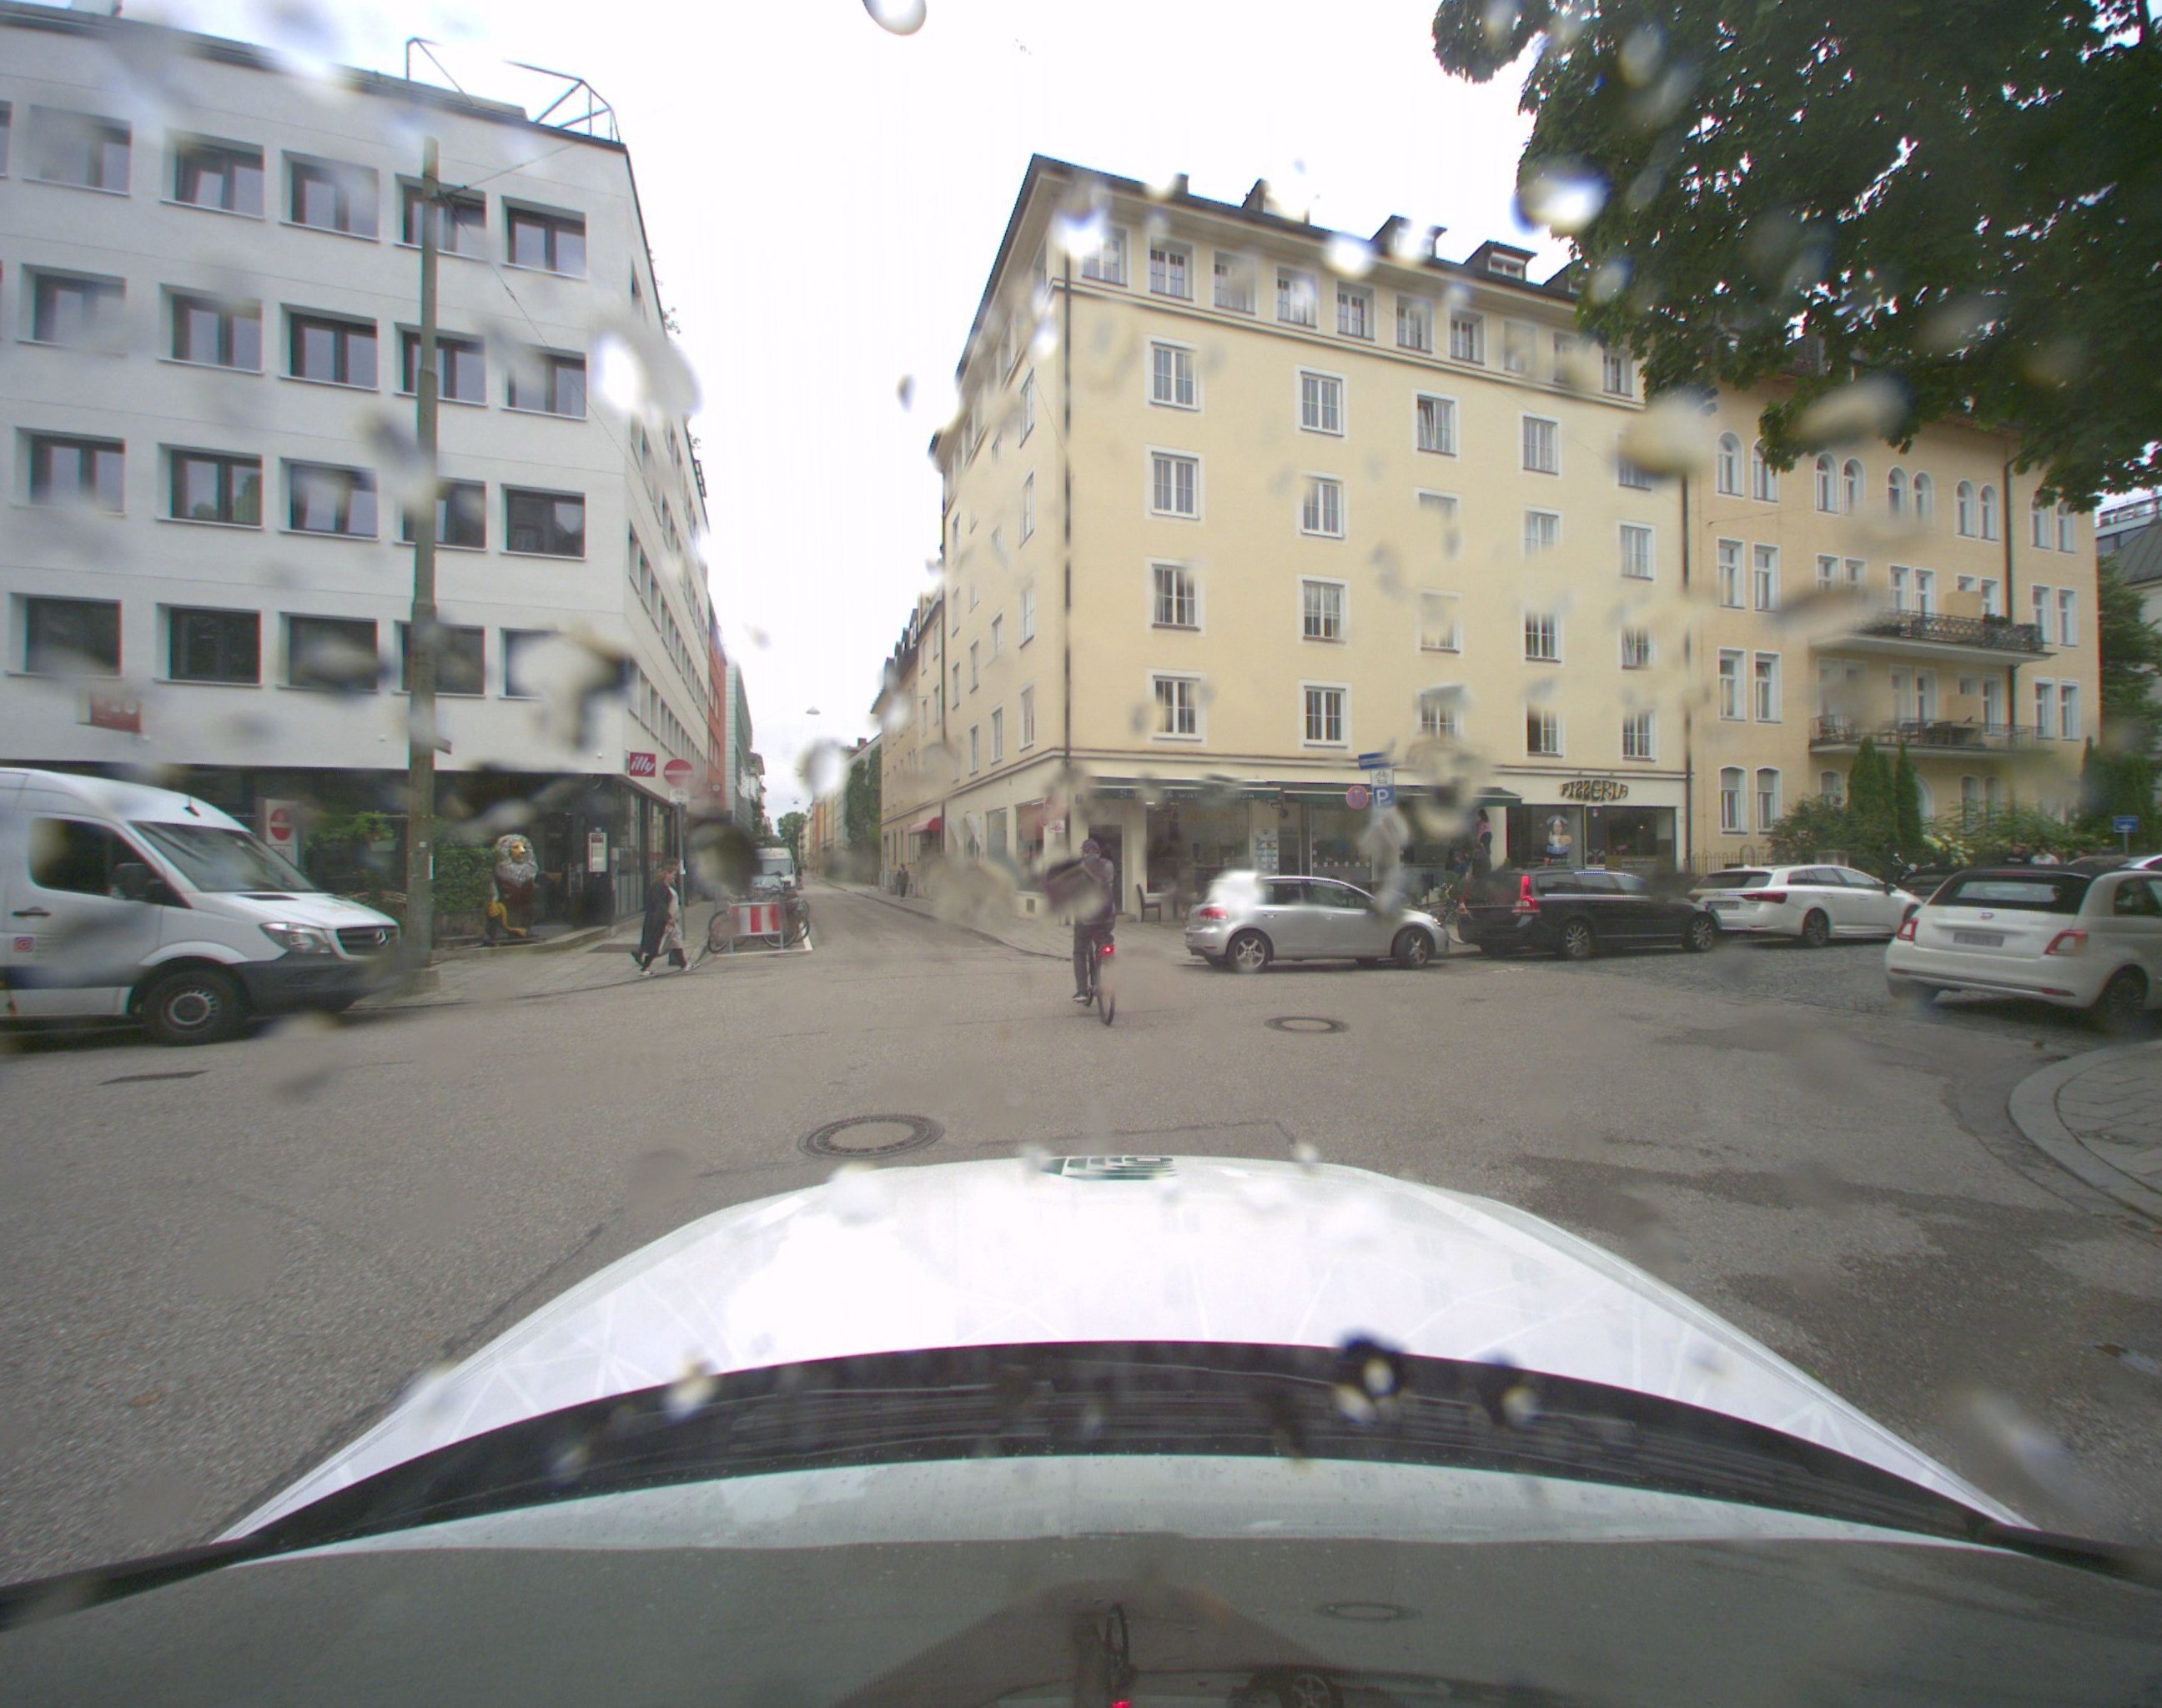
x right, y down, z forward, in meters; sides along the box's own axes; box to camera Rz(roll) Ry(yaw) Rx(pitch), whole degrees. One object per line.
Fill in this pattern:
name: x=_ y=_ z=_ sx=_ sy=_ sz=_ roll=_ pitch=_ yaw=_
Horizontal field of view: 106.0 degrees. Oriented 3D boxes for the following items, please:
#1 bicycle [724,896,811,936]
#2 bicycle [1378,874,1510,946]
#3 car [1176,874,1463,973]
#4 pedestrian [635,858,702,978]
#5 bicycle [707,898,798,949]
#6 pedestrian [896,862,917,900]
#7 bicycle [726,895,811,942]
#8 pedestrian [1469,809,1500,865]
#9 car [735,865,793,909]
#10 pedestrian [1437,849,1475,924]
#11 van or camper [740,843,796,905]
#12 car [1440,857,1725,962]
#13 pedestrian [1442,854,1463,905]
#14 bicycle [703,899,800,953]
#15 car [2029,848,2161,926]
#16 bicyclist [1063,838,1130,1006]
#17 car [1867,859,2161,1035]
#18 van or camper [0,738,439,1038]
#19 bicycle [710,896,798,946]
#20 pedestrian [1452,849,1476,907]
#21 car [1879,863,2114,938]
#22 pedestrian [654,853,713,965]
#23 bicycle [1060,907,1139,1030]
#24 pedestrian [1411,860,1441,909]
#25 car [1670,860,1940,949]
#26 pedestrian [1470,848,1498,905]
bicycle: x=-7.490 y=1.470 z=19.496 sx=1.919 sy=0.863 sz=0.614 roll=0 pitch=-1 yaw=-24
bicycle: x=6.884 y=1.038 z=15.494 sx=2.086 sy=1.253 sz=1.100 roll=1 pitch=0 yaw=-17
car: x=3.652 y=1.069 z=12.911 sx=3.982 sy=1.416 sz=1.816 roll=0 pitch=-4 yaw=-6
pedestrian: x=-6.370 y=0.964 z=12.568 sx=0.796 sy=1.746 sz=0.764 roll=2 pitch=1 yaw=-32
bicycle: x=-6.817 y=1.424 z=16.941 sx=1.744 sy=0.968 sz=0.539 roll=0 pitch=-1 yaw=-24
pedestrian: x=-8.127 y=1.248 z=37.997 sx=0.880 sy=1.778 sz=0.768 roll=0 pitch=-1 yaw=-19
bicycle: x=-7.004 y=1.426 z=18.263 sx=1.744 sy=0.968 sz=0.539 roll=0 pitch=-1 yaw=-24
pedestrian: x=11.527 y=-0.474 z=23.269 sx=0.553 sy=1.575 sz=0.575 roll=2 pitch=-1 yaw=-17
car: x=-11.908 y=1.183 z=30.796 sx=1.838 sy=1.535 sz=3.974 roll=0 pitch=-1 yaw=-19
pedestrian: x=8.742 y=0.749 z=19.012 sx=0.603 sy=1.702 sz=0.540 roll=0 pitch=1 yaw=-16
van or camper: x=-13.622 y=0.834 z=35.620 sx=1.999 sy=2.540 sz=4.731 roll=0 pitch=-1 yaw=-18
car: x=8.568 y=0.859 z=13.966 sx=4.347 sy=1.591 sz=1.810 roll=0 pitch=0 yaw=-18
pedestrian: x=10.498 y=0.709 z=23.007 sx=0.507 sy=1.433 sz=0.586 roll=-1 pitch=-1 yaw=24
bicycle: x=-6.576 y=1.420 z=16.300 sx=1.762 sy=0.968 sz=0.590 roll=0 pitch=-1 yaw=-24
car: x=24.120 y=0.756 z=18.540 sx=3.994 sy=1.638 sz=1.743 roll=0 pitch=-3 yaw=-16
bicyclist: x=0.143 y=0.648 z=8.213 sx=0.605 sy=1.606 sz=0.756 roll=-1 pitch=0 yaw=-4
car: x=10.171 y=0.820 z=8.326 sx=3.326 sy=1.487 sz=1.620 roll=0 pitch=0 yaw=-15
van or camper: x=-10.327 y=0.338 z=8.058 sx=5.917 sy=2.677 sz=1.863 roll=0 pitch=-2 yaw=-16
bicycle: x=-7.040 y=1.429 z=17.567 sx=1.744 sy=0.968 sz=0.539 roll=0 pitch=-1 yaw=-24
pedestrian: x=10.332 y=0.643 z=21.975 sx=0.551 sy=1.537 sz=0.437 roll=0 pitch=1 yaw=28
car: x=19.472 y=0.981 z=17.360 sx=3.997 sy=1.449 sz=1.800 roll=0 pitch=-4 yaw=-18
pedestrian: x=-6.654 y=0.903 z=13.622 sx=0.782 sy=1.783 sz=0.613 roll=2 pitch=1 yaw=-32
bicycle: x=0.148 y=1.080 z=8.121 sx=0.638 sy=1.004 sz=1.572 roll=-1 pitch=-1 yaw=-4
pedestrian: x=9.425 y=0.827 z=22.236 sx=0.516 sy=1.297 sz=0.576 roll=0 pitch=-1 yaw=-38
car: x=13.552 y=0.915 z=15.291 sx=4.347 sy=1.503 sz=1.809 roll=0 pitch=-3 yaw=-18
pedestrian: x=11.156 y=0.616 z=22.566 sx=0.436 sy=1.551 sz=0.529 roll=0 pitch=-1 yaw=-35
